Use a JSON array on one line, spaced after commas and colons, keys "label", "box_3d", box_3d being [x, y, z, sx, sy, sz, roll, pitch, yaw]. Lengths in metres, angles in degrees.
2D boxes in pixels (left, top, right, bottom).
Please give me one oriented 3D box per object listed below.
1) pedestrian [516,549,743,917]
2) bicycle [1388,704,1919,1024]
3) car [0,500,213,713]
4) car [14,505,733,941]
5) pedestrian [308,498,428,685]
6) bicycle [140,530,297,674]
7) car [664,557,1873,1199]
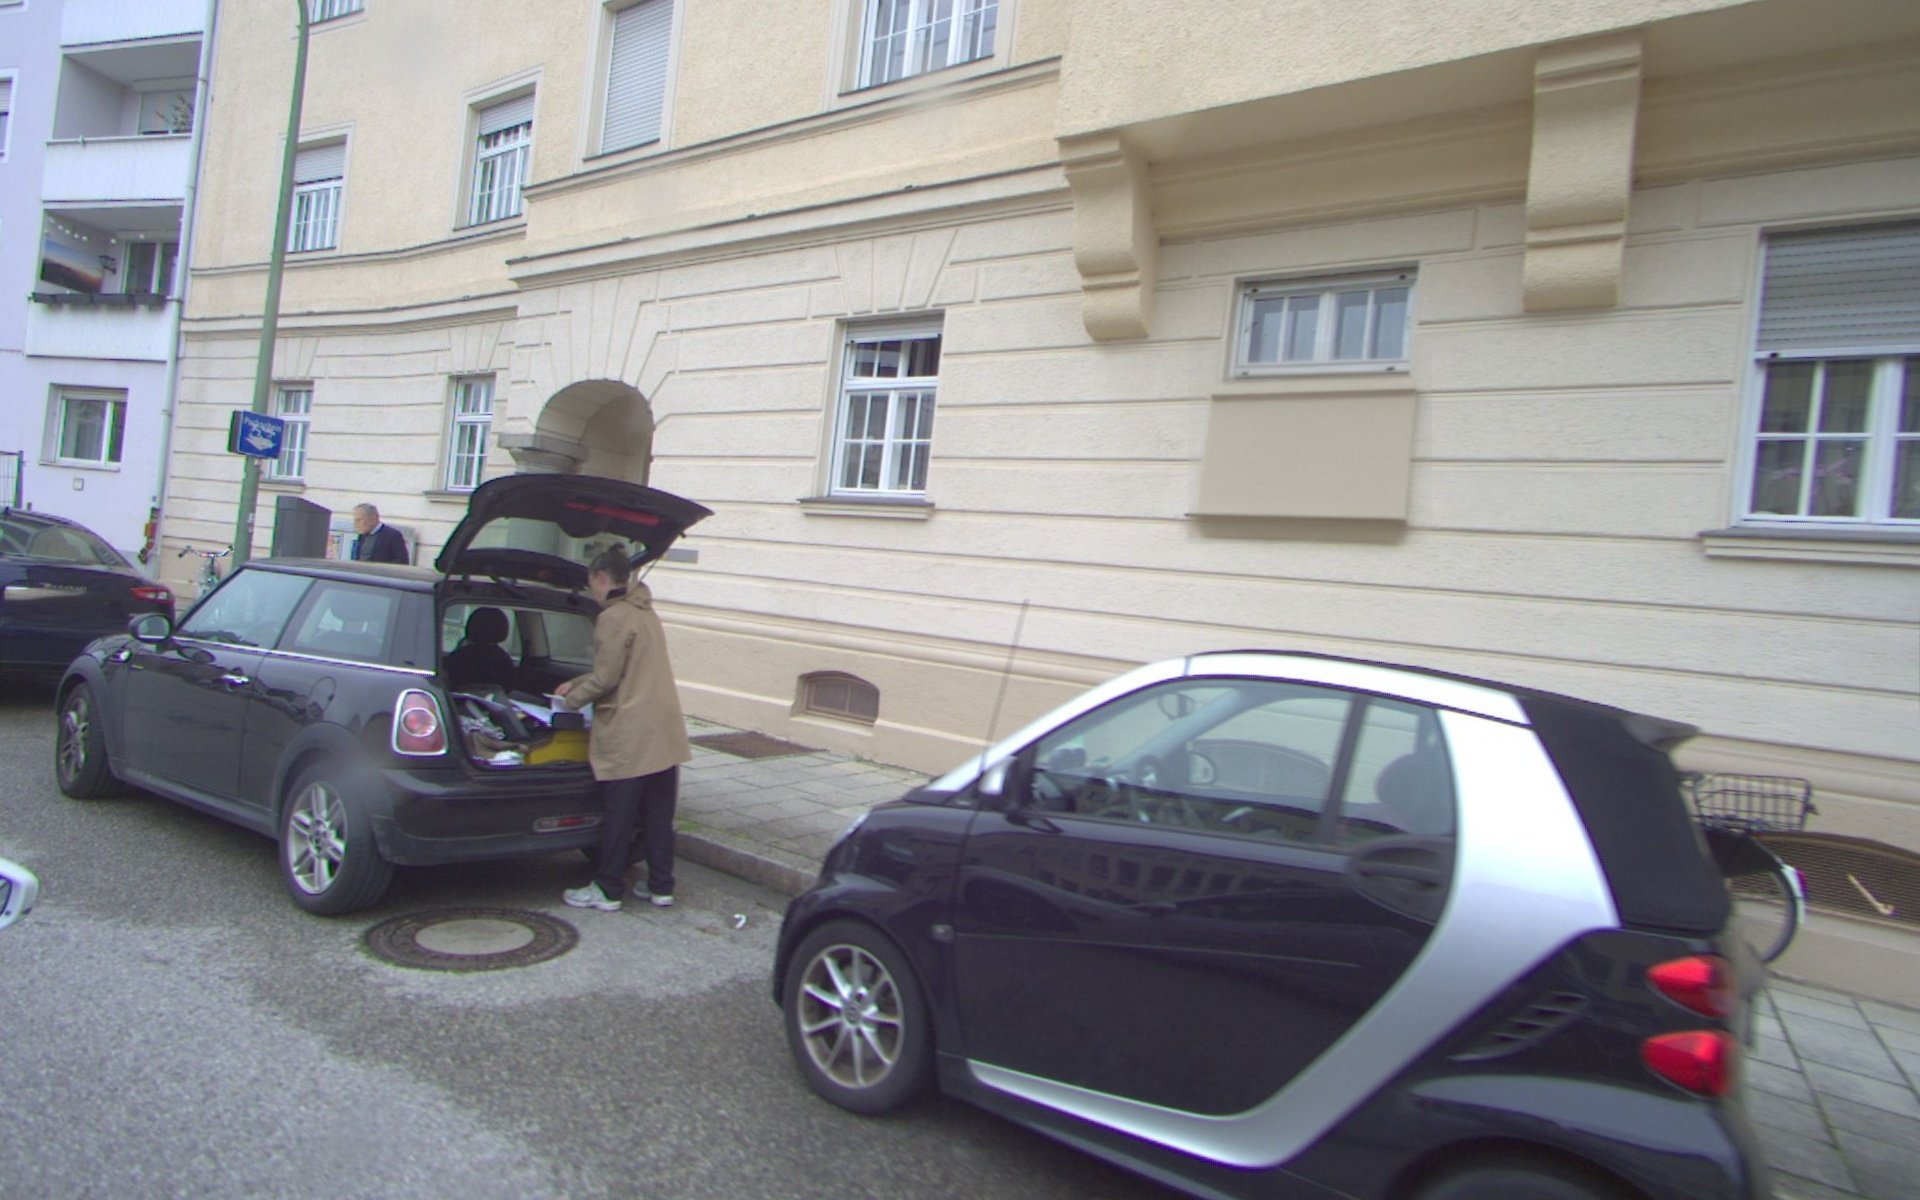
[{"label": "pedestrian", "box_3d": [-1.537, 0.588, 4.715, 0.568, 1.547, 0.629, 6, -1, 33]}, {"label": "bicycle", "box_3d": [3.421, 1.230, 5.166, 2.104, 1.063, 0.501, 6, 3, 35]}, {"label": "car", "box_3d": [-8.697, -0.160, 8.525, 4.862, 1.495, 1.912, 7, -1, 30]}, {"label": "car", "box_3d": [-3.186, 0.437, 5.325, 3.618, 1.434, 1.634, 7, -1, 31]}, {"label": "pedestrian", "box_3d": [-5.791, -0.095, 9.831, 0.904, 1.713, 0.617, 6, 3, 34]}, {"label": "bicycle", "box_3d": [-7.540, 0.006, 10.206, 1.644, 1.273, 0.637, 6, -1, 33]}, {"label": "car", "box_3d": [0.709, 0.843, 3.230, 2.971, 1.573, 1.515, 6, -1, 35]}]
